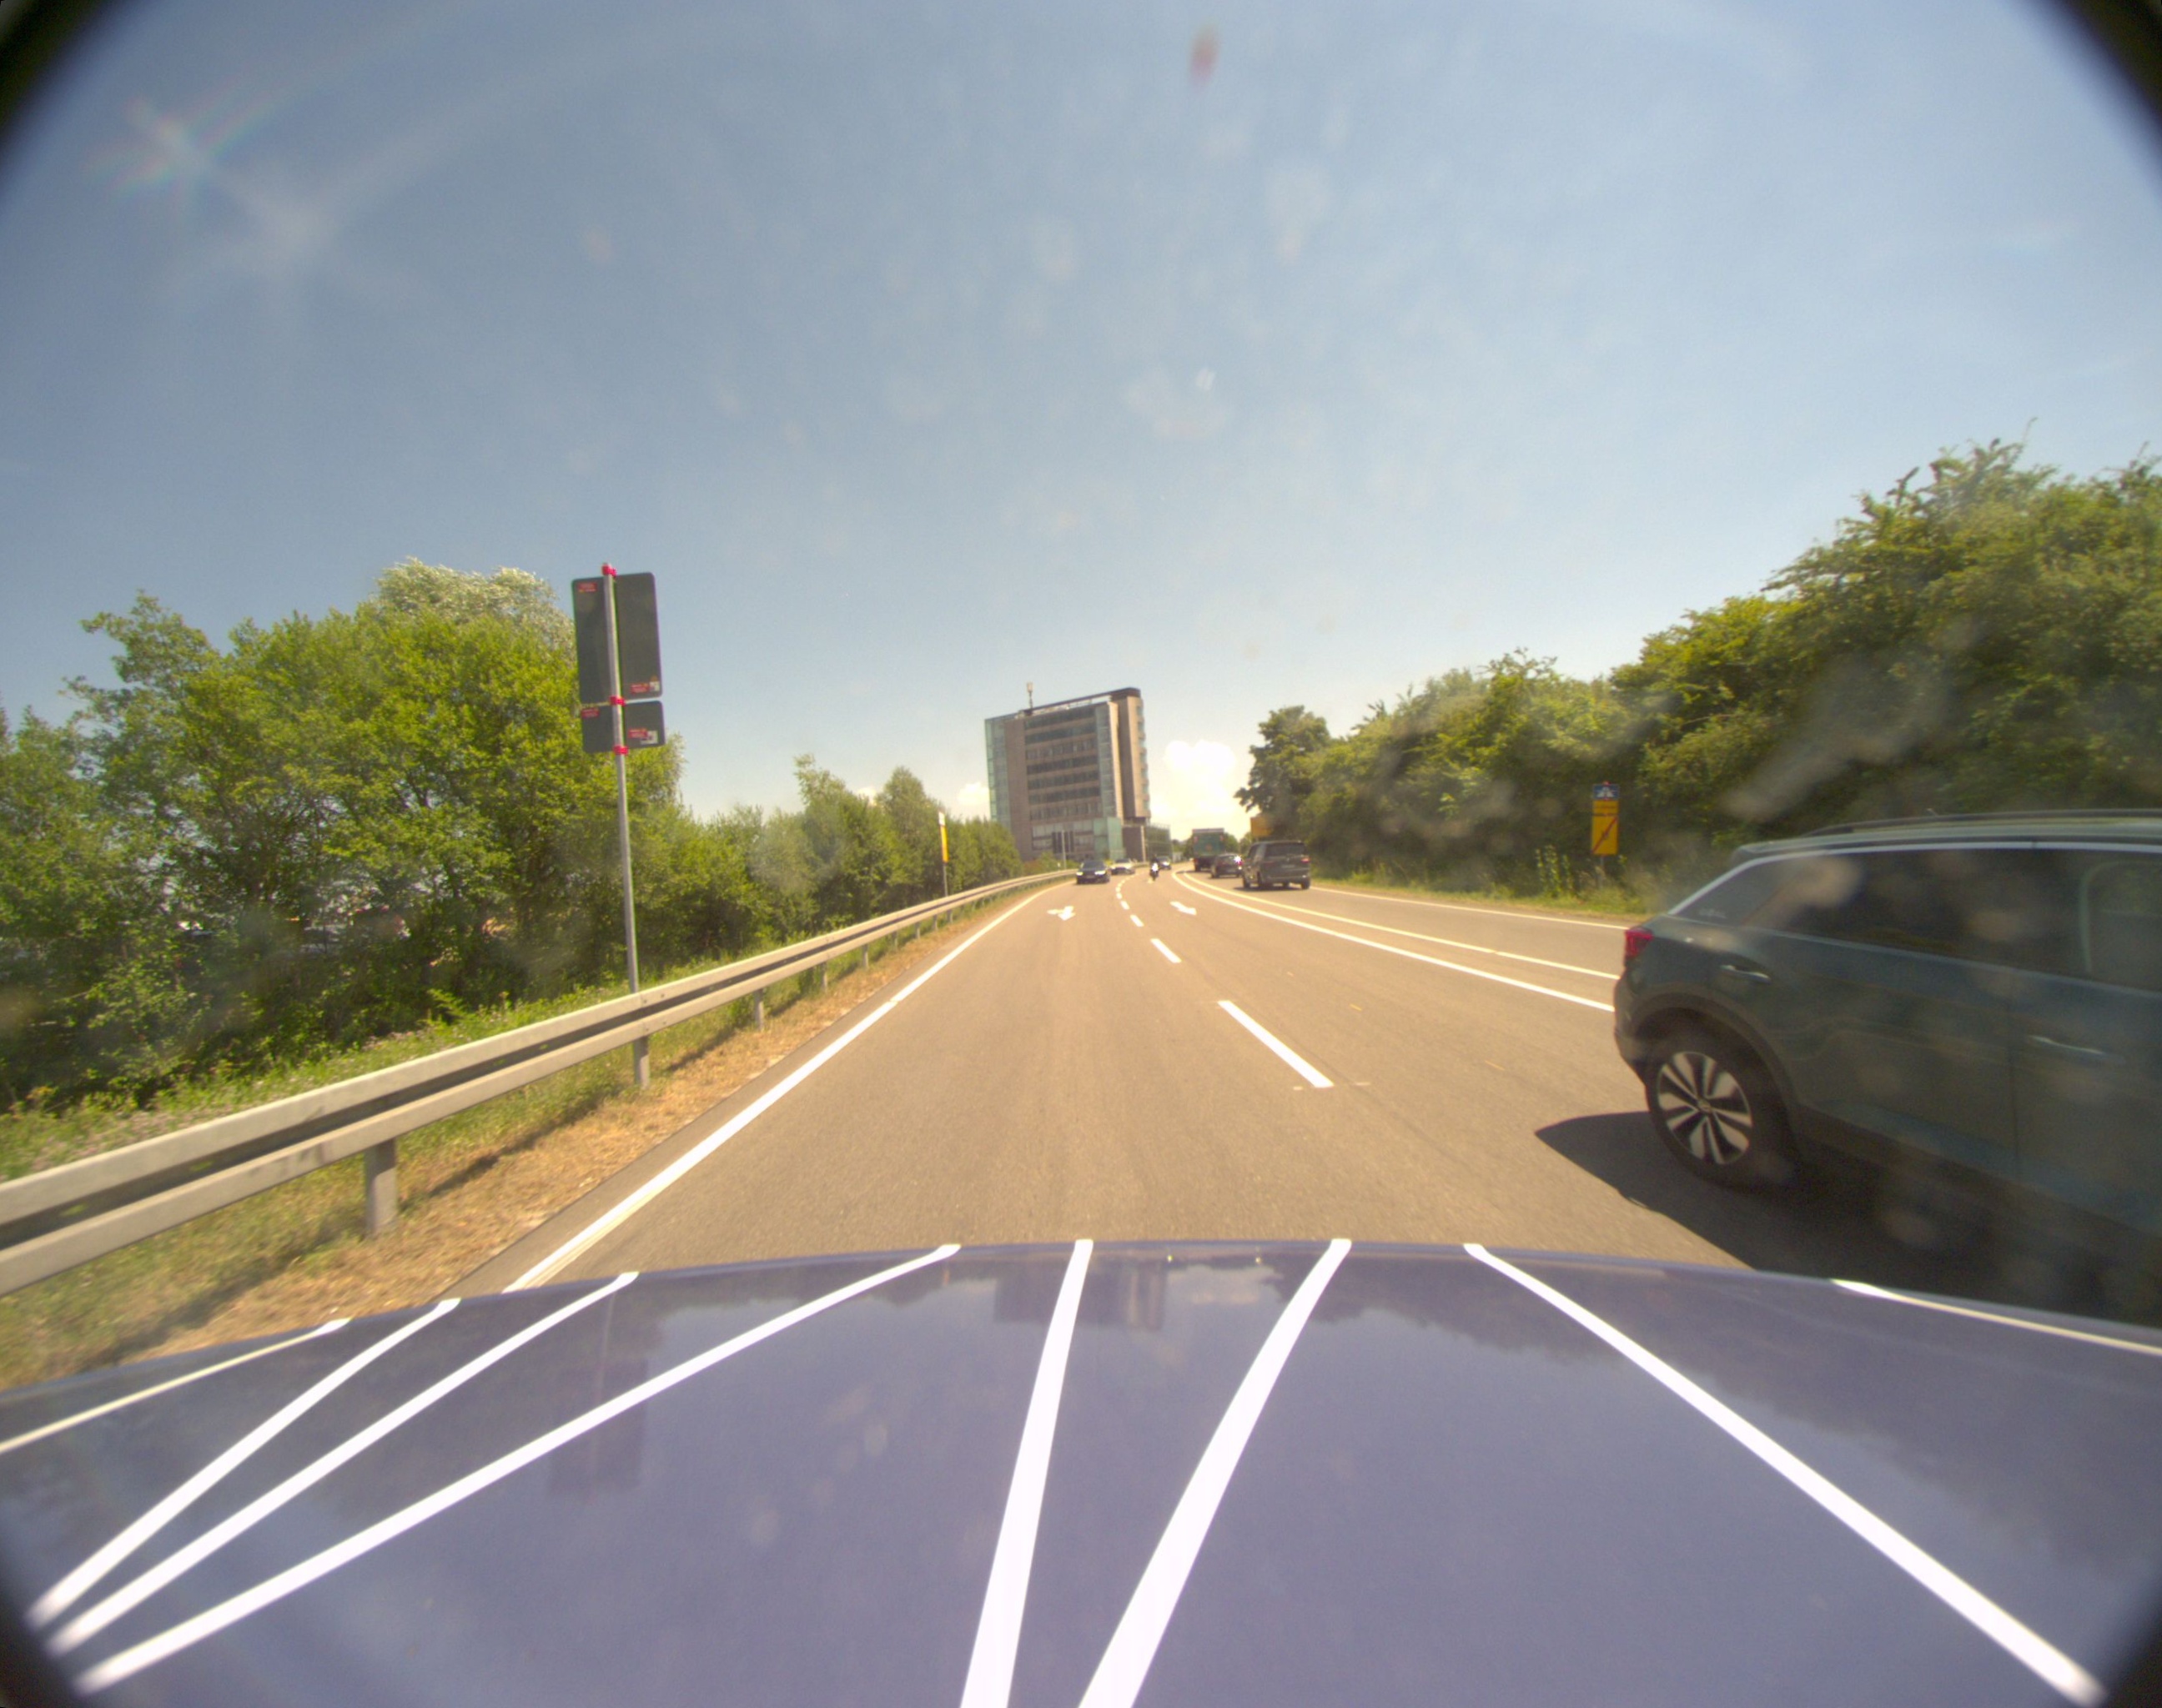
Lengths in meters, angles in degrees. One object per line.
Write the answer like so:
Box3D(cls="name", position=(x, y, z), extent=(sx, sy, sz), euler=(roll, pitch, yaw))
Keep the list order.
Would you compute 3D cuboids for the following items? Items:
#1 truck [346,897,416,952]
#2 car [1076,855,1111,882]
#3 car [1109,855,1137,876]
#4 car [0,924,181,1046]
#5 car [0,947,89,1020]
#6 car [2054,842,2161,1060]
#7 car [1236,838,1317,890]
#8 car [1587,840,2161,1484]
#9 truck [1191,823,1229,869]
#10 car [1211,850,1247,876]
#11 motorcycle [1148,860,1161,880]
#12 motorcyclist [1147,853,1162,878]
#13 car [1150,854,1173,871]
Box3D(cls="truck", position=(-52.900, 5.372, 57.684), extent=(3.136, 3.661, 9.399), euler=(-3, -3, -39))
Box3D(cls="car", position=(0.826, 0.848, 46.698), extent=(1.779, 1.497, 4.563), euler=(-3, -1, 5))
Box3D(cls="car", position=(3.765, 1.038, 66.949), extent=(1.933, 1.576, 4.183), euler=(-5, -3, 9))
Box3D(cls="car", position=(-20.366, 2.526, 14.206), extent=(4.690, 1.956, 2.001), euler=(-5, -2, 1))
Box3D(cls="car", position=(-32.560, 3.938, 21.998), extent=(1.996, 1.956, 4.317), euler=(-6, -2, 27))
Box3D(cls="car", position=(8.292, 0.624, 3.357), extent=(1.822, 1.433, 4.641), euler=(-2, 0, -6))
Box3D(cls="car", position=(7.838, 0.371, 31.027), extent=(1.998, 1.883, 5.104), euler=(-2, 0, 1))
Box3D(cls="car", position=(3.612, 0.763, 1.776), extent=(1.839, 1.577, 4.390), euler=(-2, 0, -1))
Box3D(cls="truck", position=(11.211, -0.685, 65.976), extent=(2.874, 3.553, 9.438), euler=(-2, 0, 10))
Box3D(cls="car", position=(8.983, 0.521, 46.321), extent=(1.881, 1.433, 4.332), euler=(-2, 0, 8))
Box3D(cls="motorcycle", position=(4.537, 0.975, 47.035), extent=(0.734, 1.131, 2.073), euler=(-2, 0, 5))
Box3D(cls="motorcyclist", position=(4.520, 0.700, 47.040), extent=(0.860, 1.479, 1.162), euler=(-2, 0, 5))
Box3D(cls="car", position=(8.506, 0.910, 79.752), extent=(2.116, 1.581, 4.453), euler=(-3, 0, 9))
